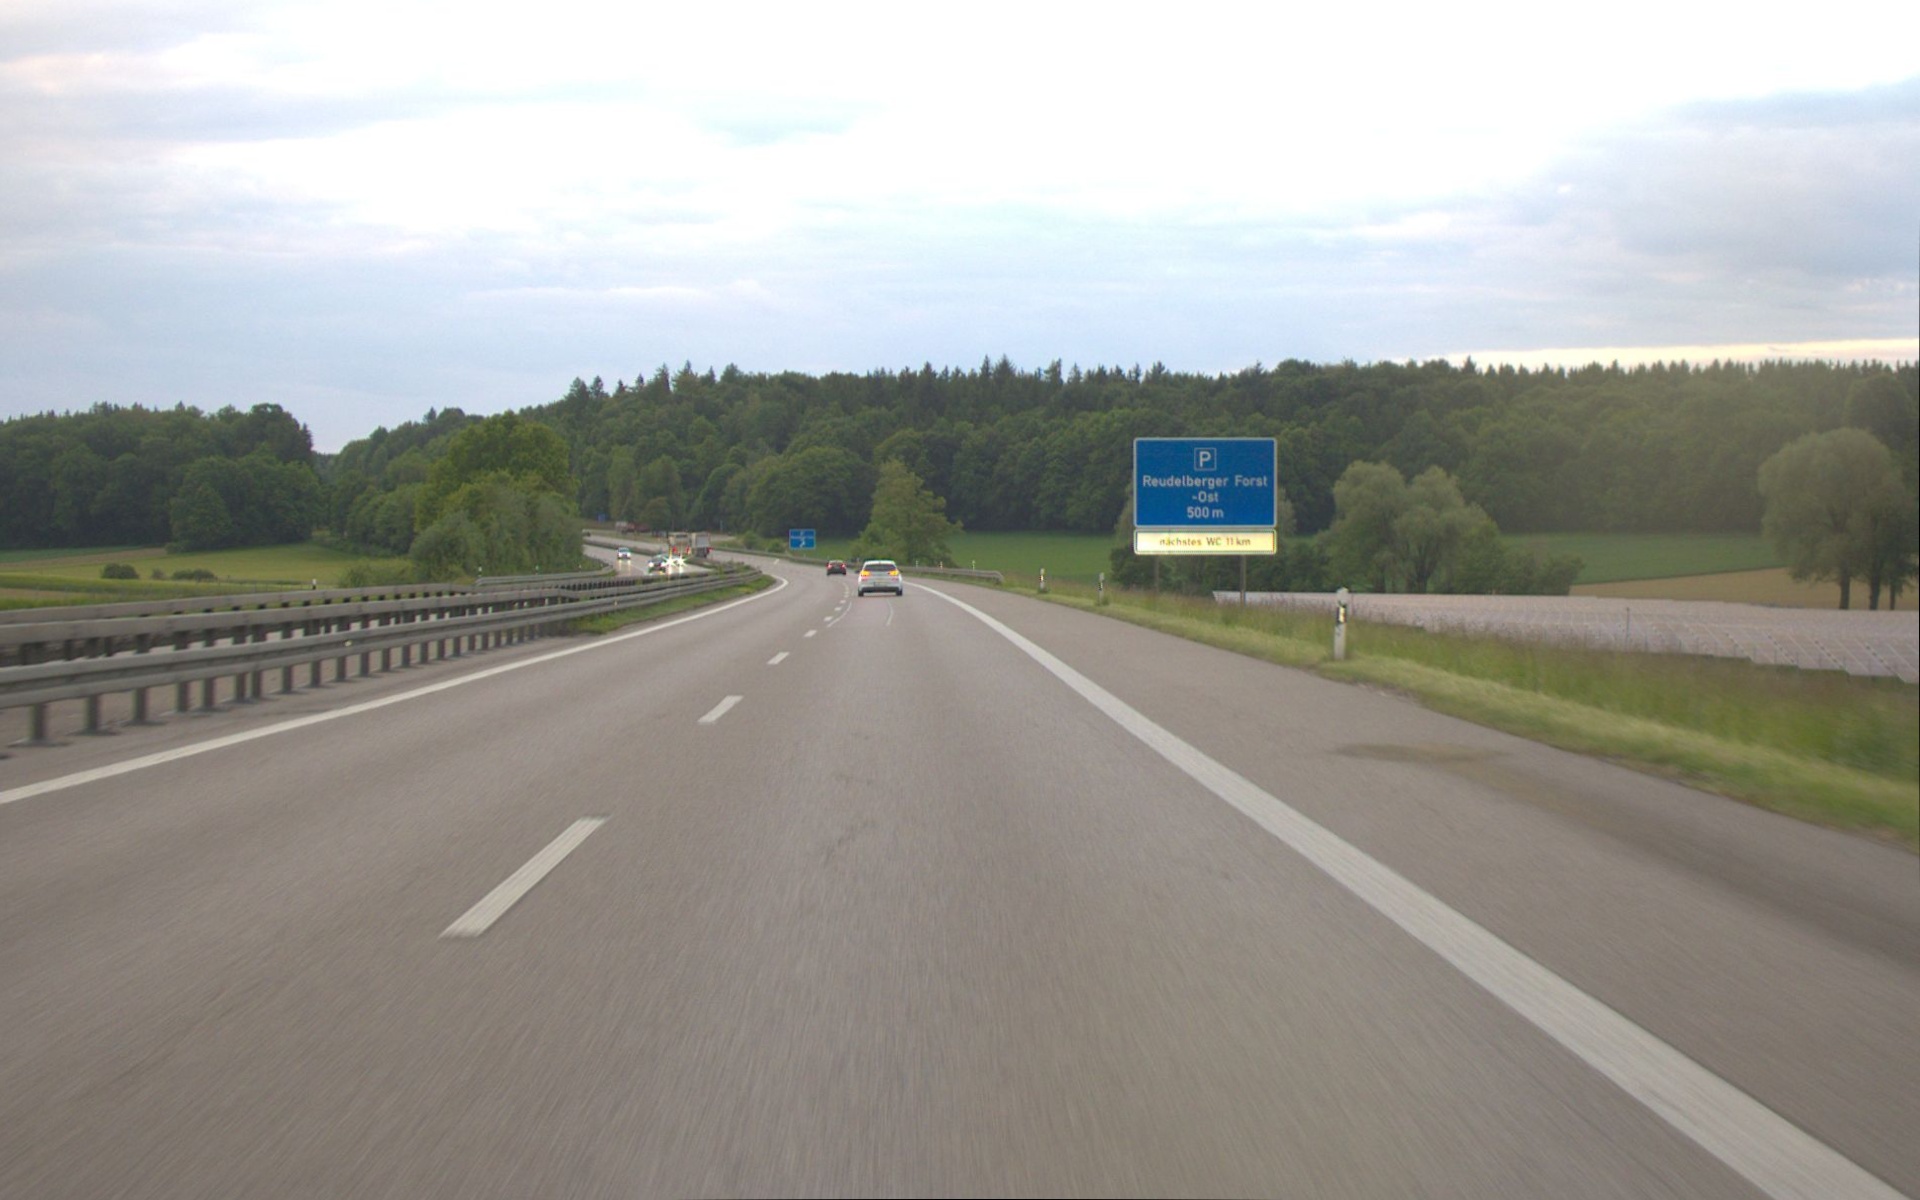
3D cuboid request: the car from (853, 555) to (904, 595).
[{"bbox_3d":[-3.344,-1.044,140.723,1.951,1.526,4.081,2,1,-3],"label":"car"}]
